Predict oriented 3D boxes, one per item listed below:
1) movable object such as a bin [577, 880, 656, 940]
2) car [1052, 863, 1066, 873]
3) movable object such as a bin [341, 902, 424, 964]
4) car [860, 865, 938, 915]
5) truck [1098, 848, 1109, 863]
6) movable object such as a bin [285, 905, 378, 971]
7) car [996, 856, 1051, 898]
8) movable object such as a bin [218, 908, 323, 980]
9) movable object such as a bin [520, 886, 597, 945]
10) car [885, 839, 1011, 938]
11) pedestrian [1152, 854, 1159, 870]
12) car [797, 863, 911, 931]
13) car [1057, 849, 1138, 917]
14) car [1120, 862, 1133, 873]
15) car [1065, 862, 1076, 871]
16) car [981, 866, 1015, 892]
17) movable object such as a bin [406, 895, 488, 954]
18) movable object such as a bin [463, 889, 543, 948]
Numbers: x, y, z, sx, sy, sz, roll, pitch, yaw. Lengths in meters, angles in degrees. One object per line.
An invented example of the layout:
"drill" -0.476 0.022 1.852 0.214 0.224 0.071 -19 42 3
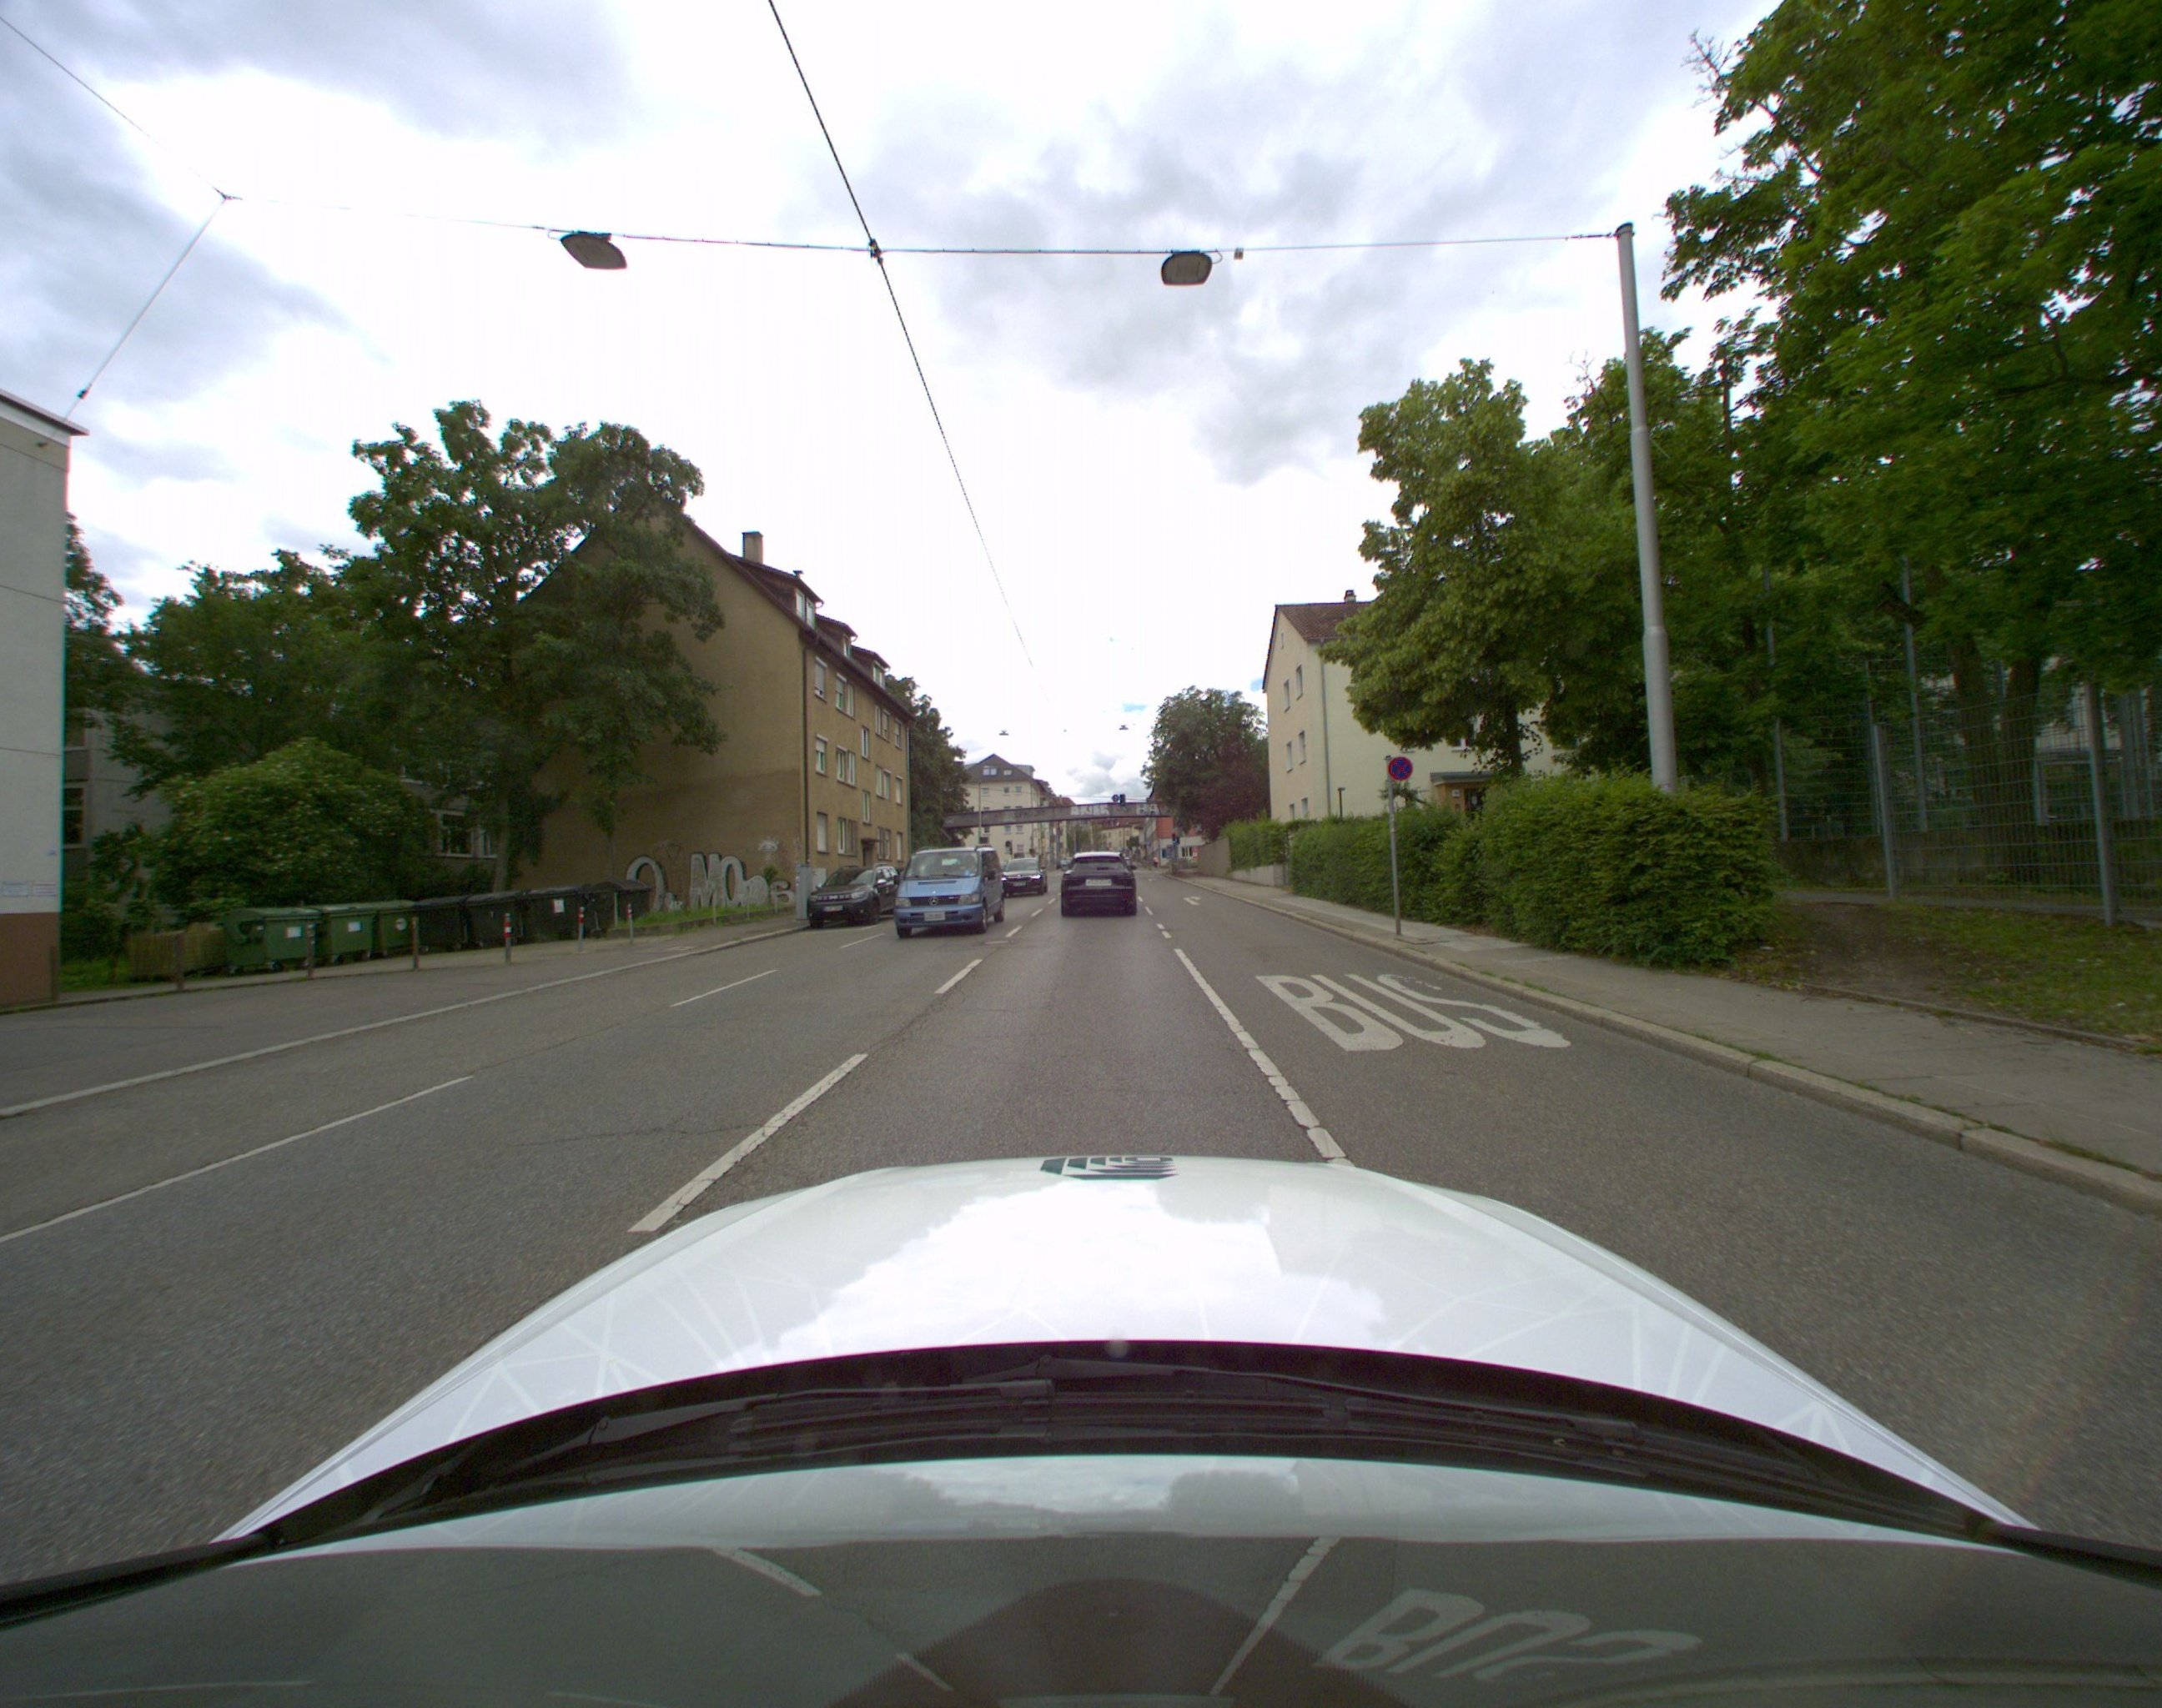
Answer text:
"movable object such as a bin" -11.889 1.417 20.880 1.278 1.428 1.278 -2 -1 -3
"car" -3.534 2.183 131.143 1.758 1.508 4.002 -2 -1 2
"movable object such as a bin" -17.885 2.004 20.903 0.907 1.428 1.397 -2 -1 -1
"car" -6.321 1.215 28.771 1.746 1.530 4.098 -3 -1 0
"truck" 5.191 0.387 186.632 2.258 3.424 9.881 -2 -1 2
"movable object such as a bin" -17.884 1.982 19.471 0.907 1.428 1.397 -2 -1 -1
"car" -2.418 0.946 35.105 1.833 1.590 4.165 -3 -1 2
"movable object such as a bin" -17.896 1.960 18.022 0.907 1.428 1.397 -2 -1 -1
"movable object such as a bin" -13.549 1.591 21.159 1.388 1.428 0.913 -2 -1 -1
"car" -2.875 0.711 18.675 1.924 1.901 4.591 -3 0 2
"pedestrian" 8.491 0.856 92.690 0.650 1.792 0.714 -2 -1 -1
"car" -6.377 1.154 23.399 1.775 1.609 4.268 -5 -1 3
"car" 0.488 0.720 22.382 1.986 1.662 4.002 -2 0 2
"car" 6.194 1.834 111.310 1.734 1.400 4.002 -2 0 2
"car" -1.861 2.282 147.648 1.758 1.650 4.002 -2 -1 2
"car" -5.426 1.607 53.483 1.740 1.568 3.907 -4 -1 0
"movable object such as a bin" -16.406 1.812 21.104 1.388 1.428 0.913 -2 -1 -1
"movable object such as a bin" -14.983 1.657 21.137 1.388 1.428 0.913 -2 -1 -1
